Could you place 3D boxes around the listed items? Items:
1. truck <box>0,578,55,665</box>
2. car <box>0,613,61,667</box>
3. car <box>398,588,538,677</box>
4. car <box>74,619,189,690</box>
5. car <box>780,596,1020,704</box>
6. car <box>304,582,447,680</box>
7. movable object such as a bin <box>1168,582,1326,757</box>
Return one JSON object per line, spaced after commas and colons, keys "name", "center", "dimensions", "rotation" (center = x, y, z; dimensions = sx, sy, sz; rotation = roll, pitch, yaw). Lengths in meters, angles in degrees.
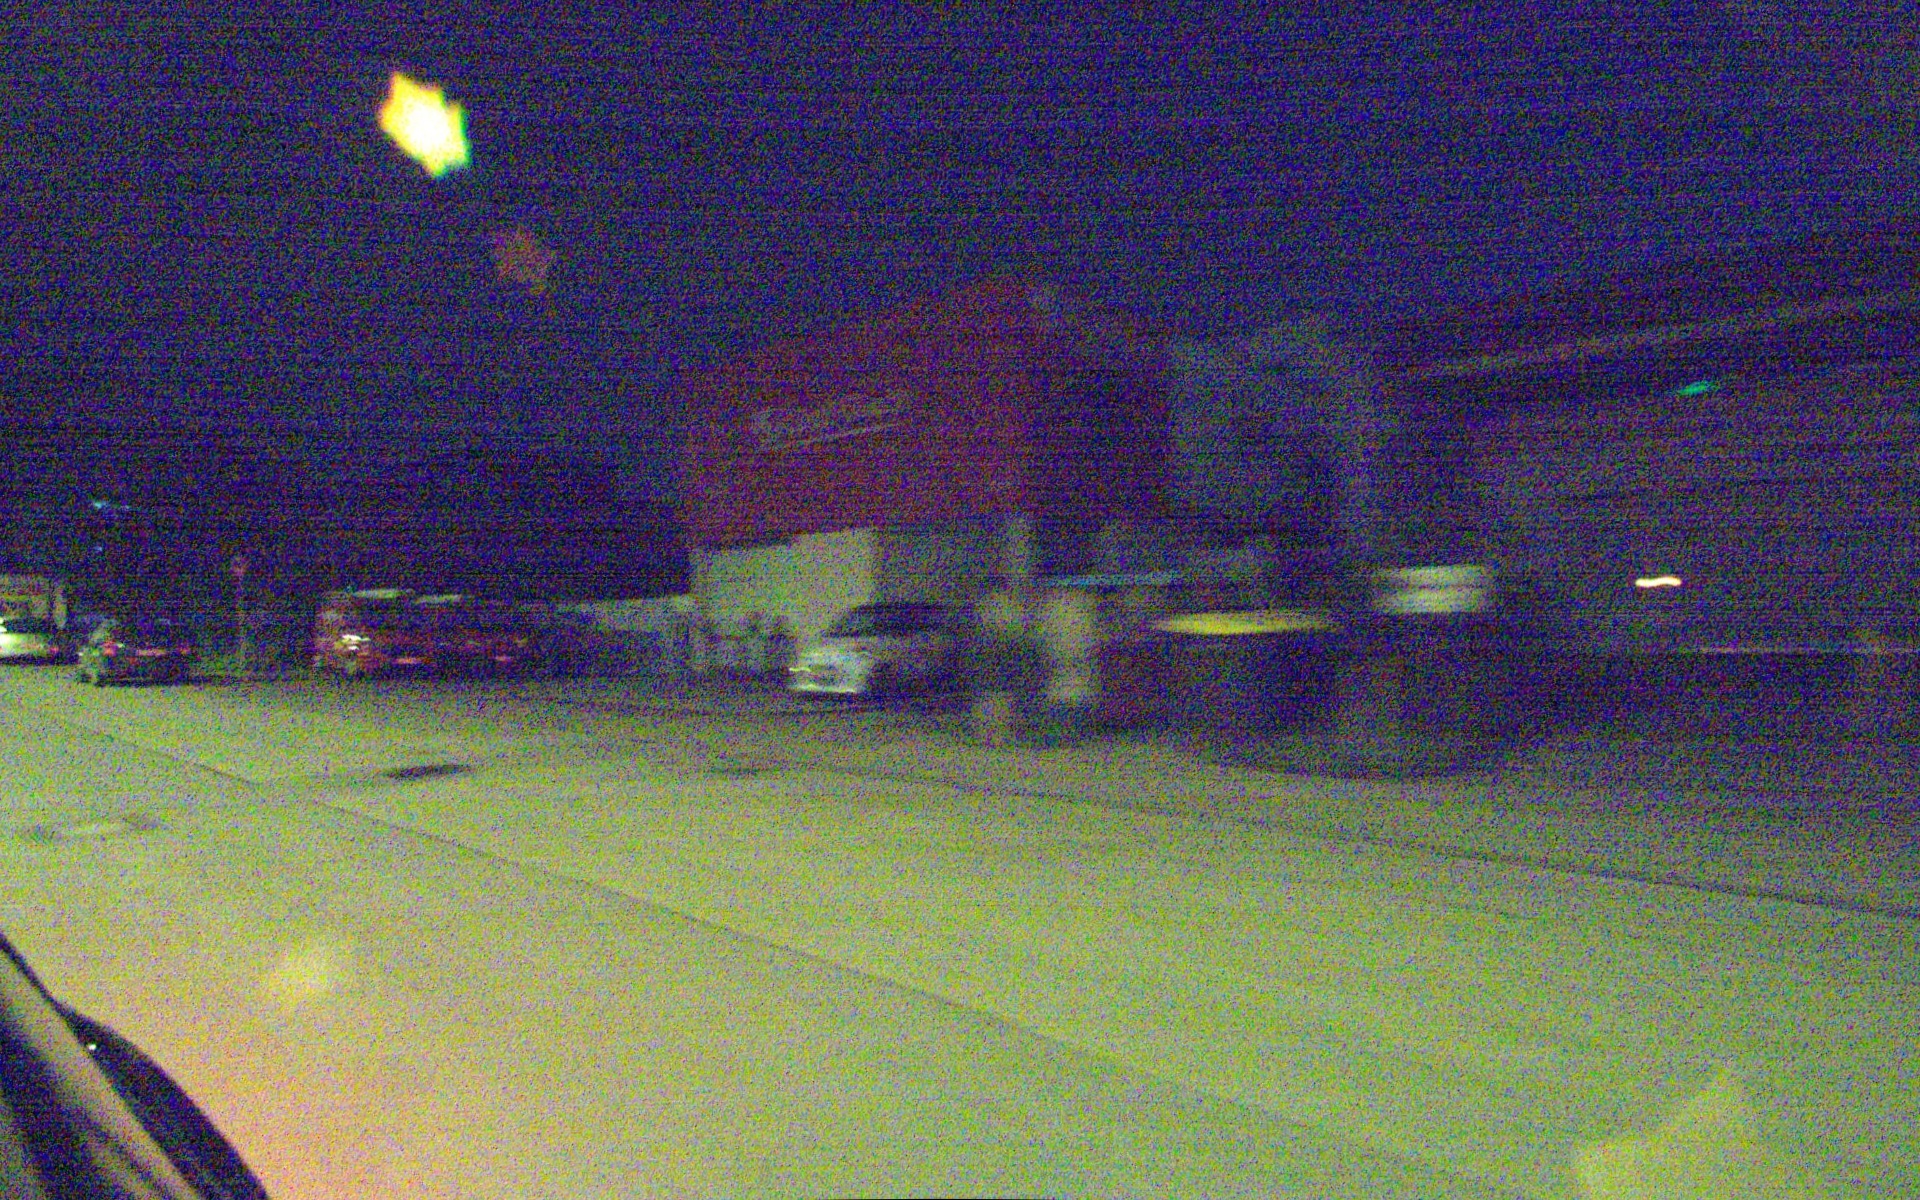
{"name": "truck", "center": [-39.125, 0.882, 41.079], "dimensions": [7.305, 3.305, 2.518], "rotation": [-1, -1, 40]}
{"name": "car", "center": [-33.978, 1.422, 36.327], "dimensions": [4.833, 1.830, 1.811], "rotation": [-1, -2, 40]}
{"name": "car", "center": [-14.118, 0.914, 28.911], "dimensions": [4.626, 2.339, 2.182], "rotation": [-2, -2, 45]}
{"name": "car", "center": [-19.974, 1.246, 24.342], "dimensions": [4.324, 1.538, 1.735], "rotation": [-2, -1, 45]}
{"name": "car", "center": [-0.898, 0.797, 16.984], "dimensions": [1.816, 1.583, 3.946], "rotation": [-2, -2, 40]}
{"name": "car", "center": [-15.395, 0.829, 26.539], "dimensions": [4.968, 2.339, 1.971], "rotation": [-2, -3, 45]}
{"name": "movable object such as a bin", "center": [2.709, 0.616, 9.530], "dimensions": [1.064, 1.507, 1.153], "rotation": [-2, -2, 38]}
